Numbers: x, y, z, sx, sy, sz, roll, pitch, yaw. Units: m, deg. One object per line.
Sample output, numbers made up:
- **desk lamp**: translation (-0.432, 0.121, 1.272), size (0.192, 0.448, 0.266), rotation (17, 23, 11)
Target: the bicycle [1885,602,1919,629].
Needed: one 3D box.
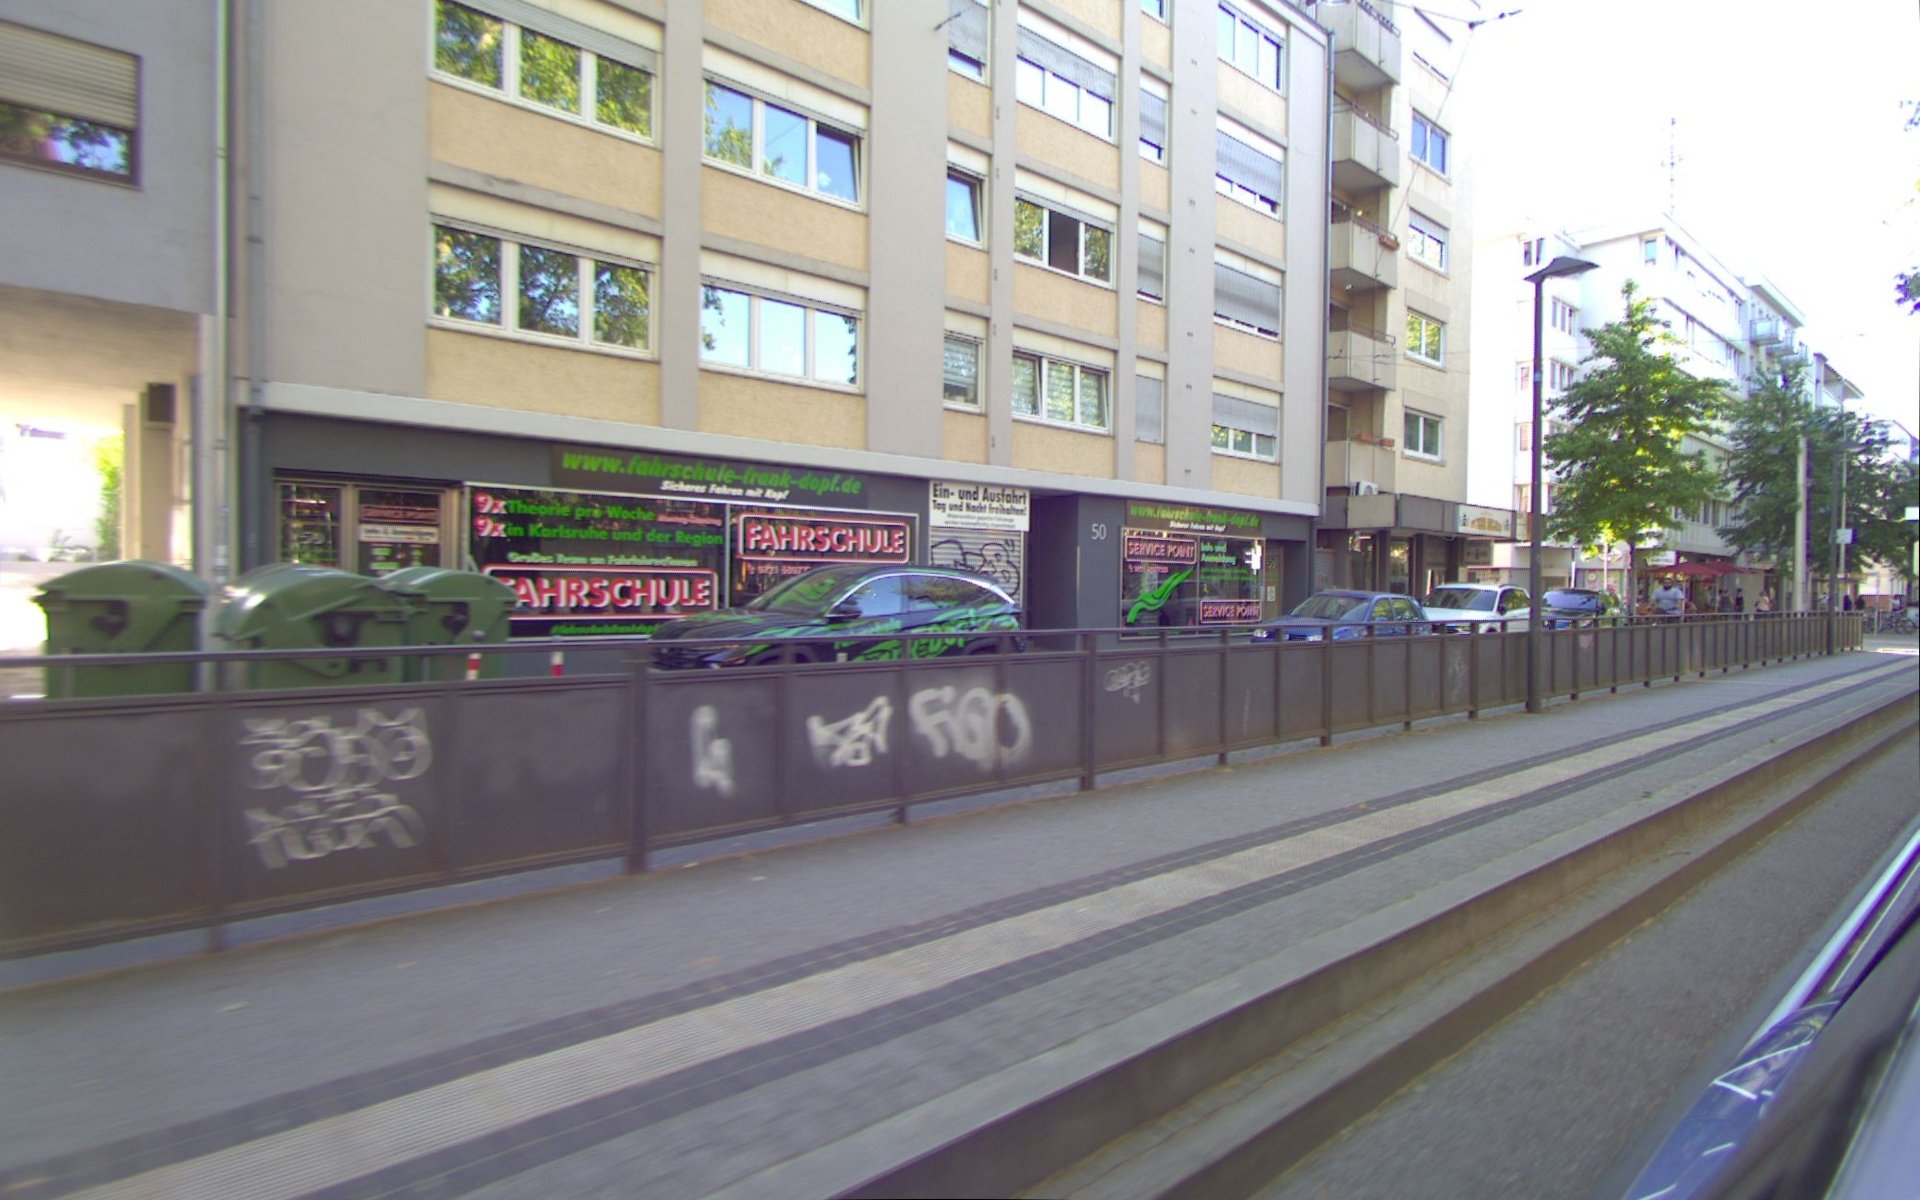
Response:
- **bicycle**: translation (41.034, 0.652, 43.505), size (0.516, 1.114, 1.818), rotation (0, 2, -41)

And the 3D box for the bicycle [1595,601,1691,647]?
- **bicycle**: translation (18.950, 0.653, 28.123), size (0.668, 1.202, 2.134), rotation (0, 1, -32)

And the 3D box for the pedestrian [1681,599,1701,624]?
- **pedestrian**: translation (32.231, 0.495, 44.640), size (0.513, 1.092, 0.642), rotation (0, 0, -43)

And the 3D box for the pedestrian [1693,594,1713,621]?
- **pedestrian**: translation (33.783, 0.324, 46.034), size (0.513, 1.190, 0.659), rotation (0, 0, -42)

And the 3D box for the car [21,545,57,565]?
- **car**: translation (-62.851, -3.054, 69.136), size (1.676, 1.266, 3.759), rotation (-1, 1, -40)

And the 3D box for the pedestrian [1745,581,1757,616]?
- **pedestrian**: translation (41.322, -0.091, 52.870), size (0.481, 1.818, 0.432), rotation (0, 0, -42)

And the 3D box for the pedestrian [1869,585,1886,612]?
- **pedestrian**: translation (59.695, -0.105, 65.837), size (0.855, 1.657, 0.643), rotation (0, 3, -43)

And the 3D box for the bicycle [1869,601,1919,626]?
- **bicycle**: translation (39.041, 0.562, 42.078), size (0.473, 1.006, 1.817), rotation (0, 1, -43)

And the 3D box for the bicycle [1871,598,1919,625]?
- **bicycle**: translation (40.061, 0.490, 43.116), size (1.814, 1.114, 0.474), rotation (0, 1, 42)

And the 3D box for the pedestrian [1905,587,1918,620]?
- **pedestrian**: translation (53.823, 0.181, 57.263), size (0.538, 1.875, 0.653), rotation (1, 0, 44)

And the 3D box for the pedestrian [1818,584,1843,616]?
- **pedestrian**: translation (49.257, -0.014, 57.274), size (0.582, 1.806, 0.993), rotation (0, 0, 7)

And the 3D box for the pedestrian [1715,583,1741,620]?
- **pedestrian**: translation (35.493, 0.059, 46.791), size (0.666, 1.680, 0.814), rotation (0, 0, -36)

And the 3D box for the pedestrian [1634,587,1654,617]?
- **pedestrian**: translation (30.104, 0.080, 44.526), size (0.703, 1.303, 0.536), rotation (0, 0, -40)

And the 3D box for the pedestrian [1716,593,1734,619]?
- **pedestrian**: translation (38.623, 0.315, 51.068), size (0.501, 1.292, 0.624), rotation (0, 0, 12)

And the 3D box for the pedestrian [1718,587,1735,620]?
- **pedestrian**: translation (38.603, 0.150, 50.991), size (0.500, 1.649, 0.516), rotation (0, 0, 12)

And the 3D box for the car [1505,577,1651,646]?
- **car**: translation (15.951, 0.233, 26.048), size (4.367, 1.636, 1.997), rotation (-1, 1, -41)

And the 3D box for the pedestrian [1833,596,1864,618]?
- **pedestrian**: translation (44.521, 0.343, 50.708), size (0.647, 1.040, 1.003), rotation (0, 0, -8)

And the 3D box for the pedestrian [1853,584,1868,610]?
- **pedestrian**: translation (59.117, -0.202, 66.433), size (0.919, 1.698, 0.597), rotation (-1, 3, -43)

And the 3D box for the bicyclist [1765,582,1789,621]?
- **bicyclist**: translation (36.721, 0.075, 45.492), size (0.948, 1.739, 0.678), rotation (0, 0, -39)

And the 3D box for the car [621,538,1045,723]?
- **car**: translation (-1.241, 0.237, 11.078), size (4.321, 1.636, 1.860), rotation (-1, 1, -41)

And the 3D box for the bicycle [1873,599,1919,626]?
- **bicycle**: translation (39.718, 0.521, 42.671), size (1.814, 1.114, 0.490), rotation (0, 1, 42)

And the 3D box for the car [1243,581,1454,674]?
- **car**: translation (6.968, 0.402, 17.966), size (4.173, 1.458, 1.747), rotation (-1, 1, -41)

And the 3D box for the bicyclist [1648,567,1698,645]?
- **bicyclist**: translation (17.337, 0.135, 24.599), size (1.080, 1.854, 0.768), rotation (0, 0, -41)

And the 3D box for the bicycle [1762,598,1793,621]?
- **bicycle**: translation (36.844, 0.410, 45.587), size (1.986, 0.975, 0.678), rotation (-1, 1, -39)

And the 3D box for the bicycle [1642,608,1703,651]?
- **bicycle**: translation (17.330, 0.699, 24.604), size (1.905, 0.949, 0.790), rotation (-1, 1, -41)

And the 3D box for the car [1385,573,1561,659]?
- **car**: translation (10.819, 0.263, 21.234), size (4.338, 1.626, 1.803), rotation (-1, 1, -41)
